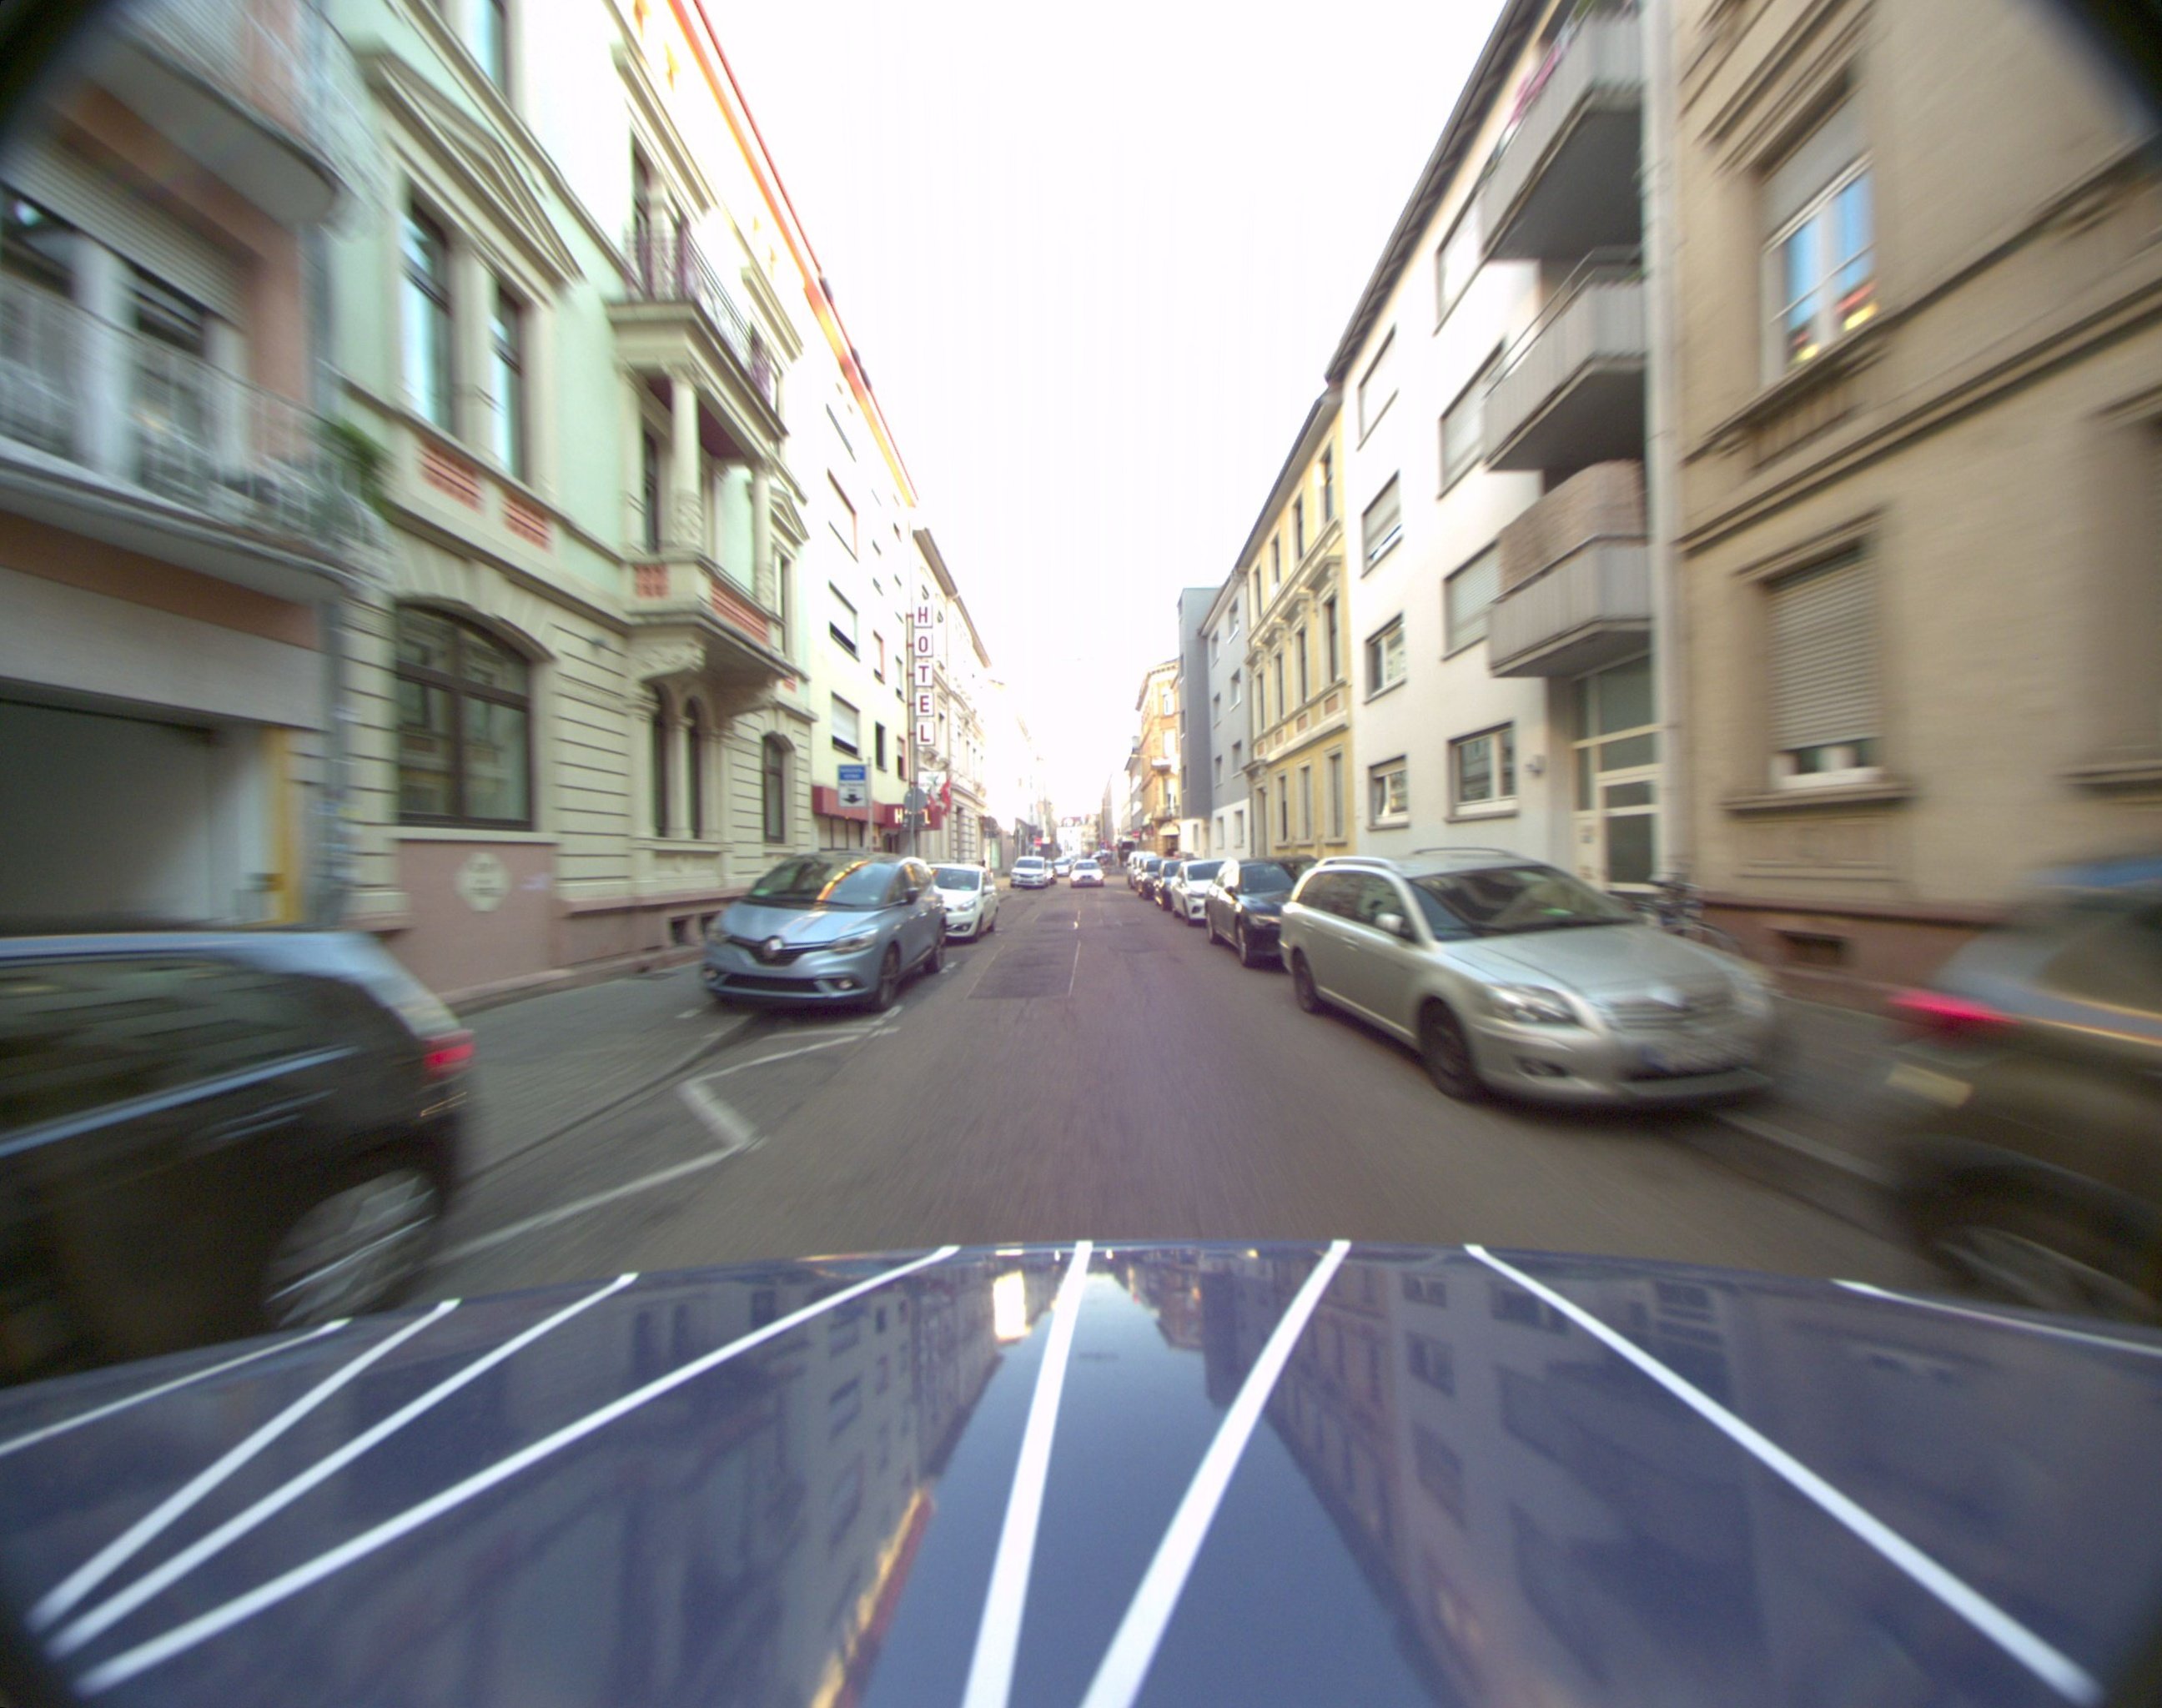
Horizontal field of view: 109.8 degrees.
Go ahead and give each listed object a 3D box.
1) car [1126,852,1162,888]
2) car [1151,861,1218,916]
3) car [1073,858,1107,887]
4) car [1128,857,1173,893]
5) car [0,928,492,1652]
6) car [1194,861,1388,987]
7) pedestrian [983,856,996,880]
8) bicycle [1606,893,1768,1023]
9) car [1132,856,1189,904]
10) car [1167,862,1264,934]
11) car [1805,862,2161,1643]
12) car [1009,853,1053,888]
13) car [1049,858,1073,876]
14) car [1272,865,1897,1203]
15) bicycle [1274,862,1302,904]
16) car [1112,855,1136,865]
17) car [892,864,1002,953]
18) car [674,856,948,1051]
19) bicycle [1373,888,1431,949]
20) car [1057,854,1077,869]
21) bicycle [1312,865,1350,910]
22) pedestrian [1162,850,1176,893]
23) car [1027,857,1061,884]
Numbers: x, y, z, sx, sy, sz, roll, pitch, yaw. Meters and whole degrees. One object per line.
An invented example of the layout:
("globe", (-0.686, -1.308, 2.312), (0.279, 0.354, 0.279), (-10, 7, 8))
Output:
("car", (3.339, 0.834, 40.921), (1.642, 1.786, 3.783), (-2, 0, 1))
("car", (3.086, 0.992, 23.289), (1.642, 1.480, 3.954), (-2, 0, 2))
("car", (0.470, 0.947, 40.684), (1.681, 1.395, 4.471), (-3, 0, 1))
("car", (3.227, 0.964, 35.911), (1.642, 1.571, 3.783), (-2, 0, -2))
("car", (-3.223, 1.033, 0.954), (1.694, 1.449, 4.132), (-2, 0, 0))
("car", (2.997, 0.907, 11.879), (1.795, 1.530, 4.494), (-2, 0, 0))
("pedestrian", (-5.420, 0.833, 44.973), (0.696, 1.415, 0.483), (-1, 0, 1))
("bicycle", (5.561, 0.904, 7.077), (0.292, 1.003, 1.544), (-1, 0, 1))
("car", (3.001, 0.937, 29.281), (1.642, 1.701, 3.783), (-2, 0, -2))
("car", (3.111, 0.972, 18.244), (1.642, 1.480, 3.789), (-2, 0, 0))
("car", (3.119, 0.804, 0.261), (1.795, 1.567, 4.070), (-2, 0, -1))
("car", (-2.630, 0.860, 40.989), (1.841, 1.685, 4.359), (3, 0, 2))
("car", (-1.653, 1.078, 63.728), (1.729, 1.390, 3.893), (-2, 0, 2))
("car", (2.982, 0.889, 5.860), (1.795, 1.530, 4.434), (-2, 0, -1))
("bicycle", (5.750, 0.779, 21.195), (0.382, 1.108, 1.544), (-1, 0, 2))
("car", (7.306, 1.018, 128.855), (3.881, 1.568, 1.734), (-2, 0, 43))
("car", (-2.631, 1.021, 15.687), (1.574, 1.569, 3.590), (-2, 0, 0))
("car", (-2.802, 0.910, 8.930), (1.694, 1.731, 4.109), (-2, 0, 0))
("bicycle", (5.930, 1.166, 14.111), (0.292, 1.003, 1.543), (-2, 0, -4))
("car", (-1.363, 0.752, 73.889), (1.729, 1.390, 3.893), (-2, 0, 2))
("bicycle", (5.892, 0.775, 17.941), (0.292, 1.003, 1.543), (-2, 0, -3))
("pedestrian", (3.692, 0.731, 31.854), (0.456, 1.745, 0.455), (-2, 0, -1))
("car", (-2.204, 0.965, 46.305), (1.729, 1.469, 3.976), (-2, 0, 2))
